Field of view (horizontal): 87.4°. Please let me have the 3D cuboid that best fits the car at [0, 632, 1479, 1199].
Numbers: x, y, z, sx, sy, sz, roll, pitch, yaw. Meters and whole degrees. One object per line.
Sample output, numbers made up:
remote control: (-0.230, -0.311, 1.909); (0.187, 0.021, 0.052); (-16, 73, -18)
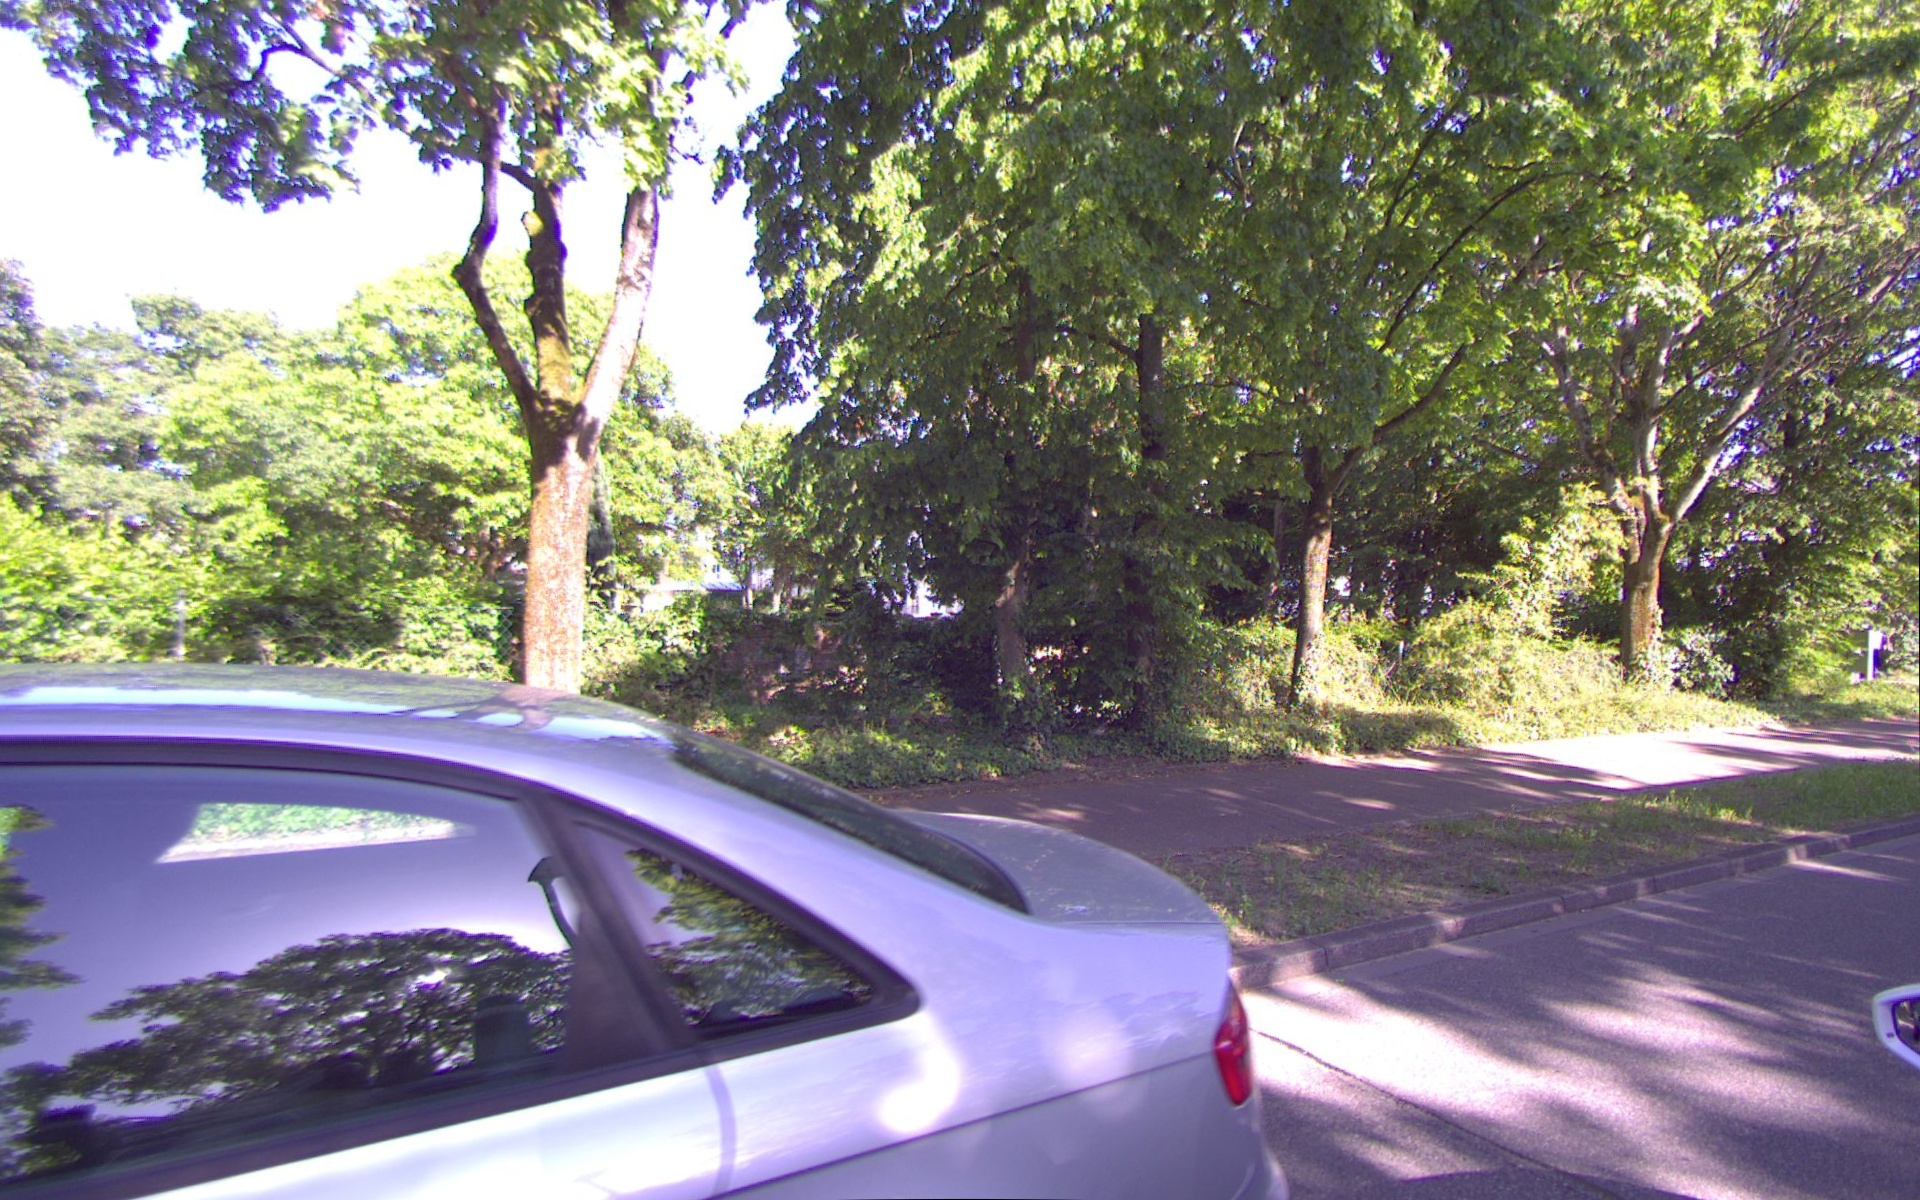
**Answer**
car: (-1.392, 0.764, 1.322); (4.055, 1.435, 1.779); (1, -2, -29)
